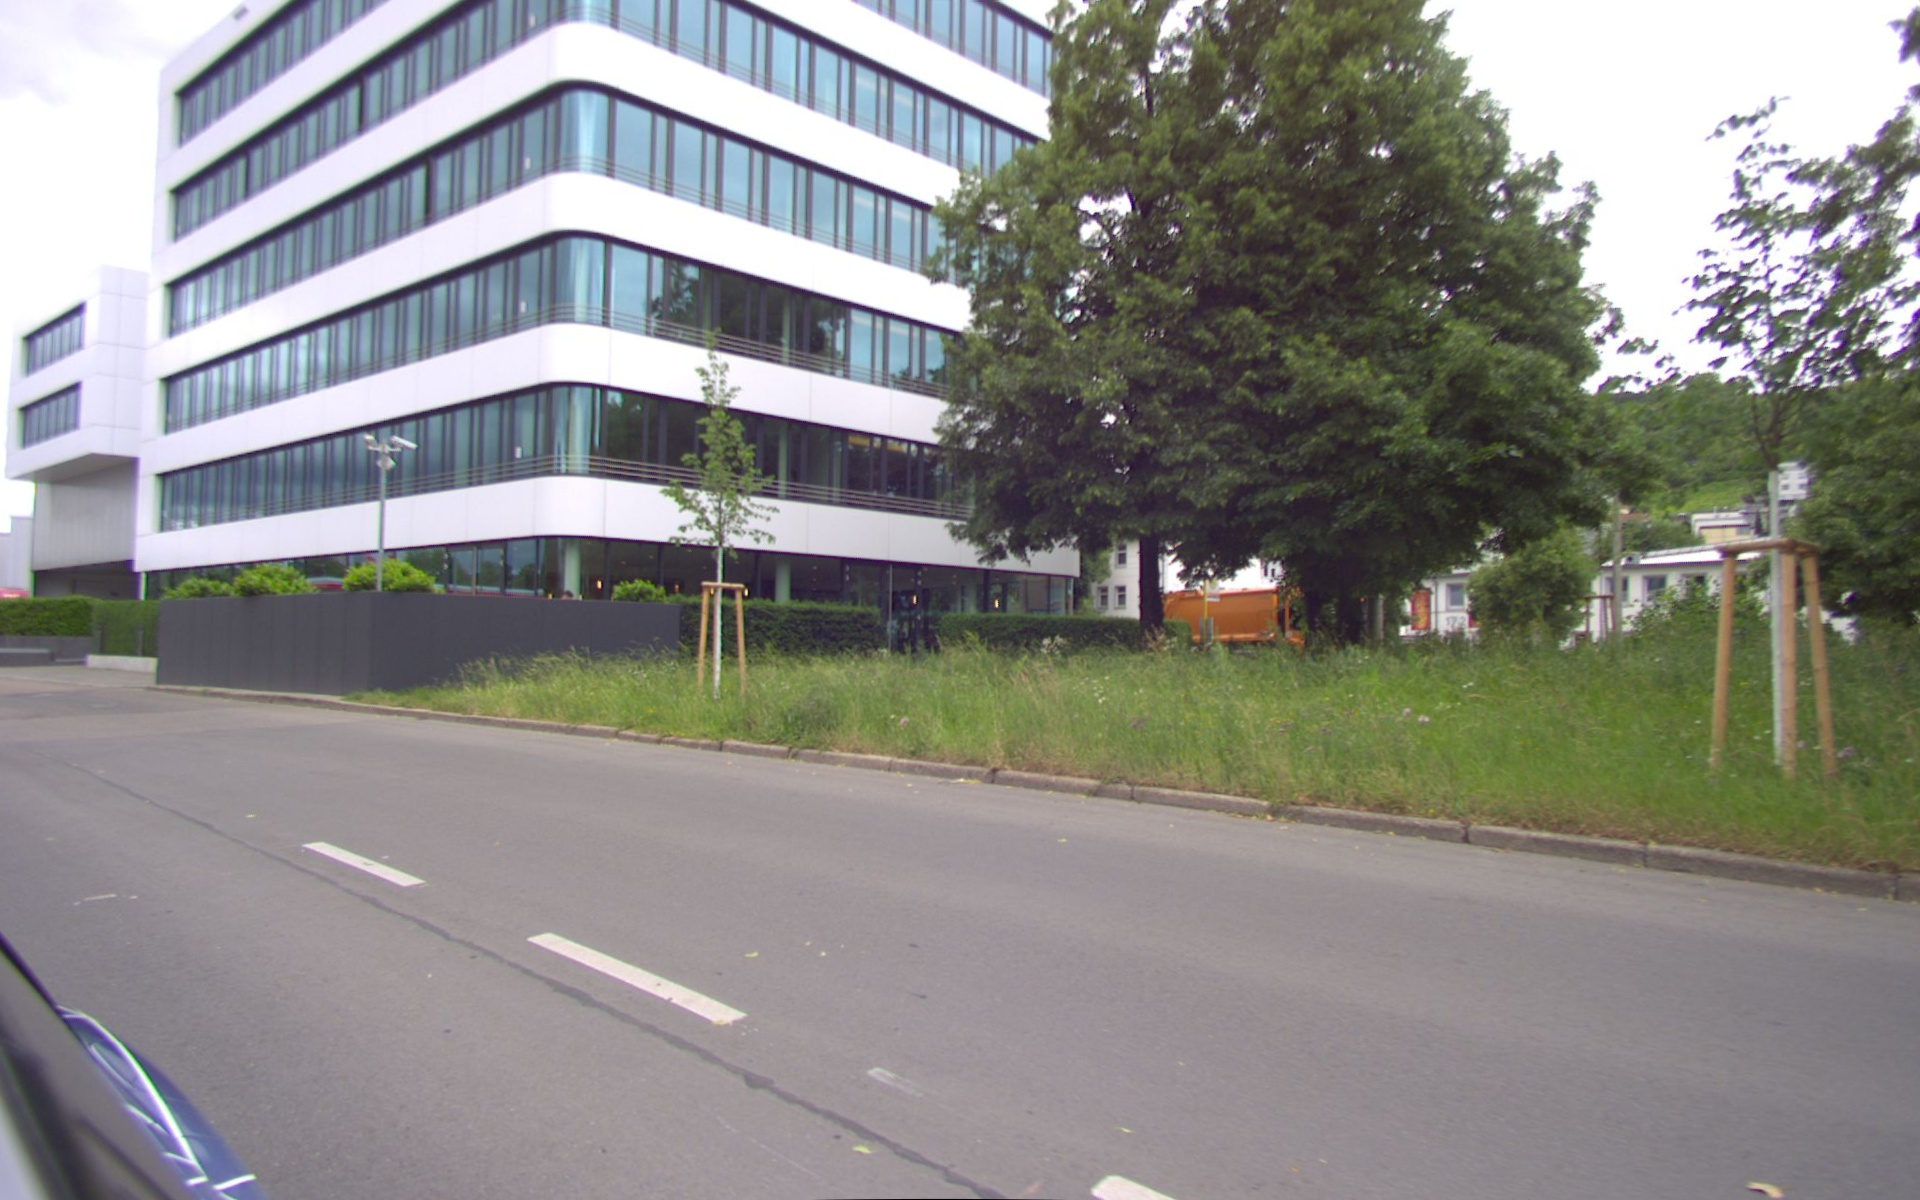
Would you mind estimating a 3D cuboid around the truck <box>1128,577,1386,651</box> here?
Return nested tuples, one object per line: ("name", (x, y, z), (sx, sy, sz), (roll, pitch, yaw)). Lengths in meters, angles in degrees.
("truck", (11.296, 0.743, 40.036), (2.933, 2.541, 10.274), (2, -4, -34))

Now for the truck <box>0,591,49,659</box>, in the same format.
("truck", (-59.146, 1.641, 62.969), (2.705, 4.062, 7.109), (2, -3, -35))
